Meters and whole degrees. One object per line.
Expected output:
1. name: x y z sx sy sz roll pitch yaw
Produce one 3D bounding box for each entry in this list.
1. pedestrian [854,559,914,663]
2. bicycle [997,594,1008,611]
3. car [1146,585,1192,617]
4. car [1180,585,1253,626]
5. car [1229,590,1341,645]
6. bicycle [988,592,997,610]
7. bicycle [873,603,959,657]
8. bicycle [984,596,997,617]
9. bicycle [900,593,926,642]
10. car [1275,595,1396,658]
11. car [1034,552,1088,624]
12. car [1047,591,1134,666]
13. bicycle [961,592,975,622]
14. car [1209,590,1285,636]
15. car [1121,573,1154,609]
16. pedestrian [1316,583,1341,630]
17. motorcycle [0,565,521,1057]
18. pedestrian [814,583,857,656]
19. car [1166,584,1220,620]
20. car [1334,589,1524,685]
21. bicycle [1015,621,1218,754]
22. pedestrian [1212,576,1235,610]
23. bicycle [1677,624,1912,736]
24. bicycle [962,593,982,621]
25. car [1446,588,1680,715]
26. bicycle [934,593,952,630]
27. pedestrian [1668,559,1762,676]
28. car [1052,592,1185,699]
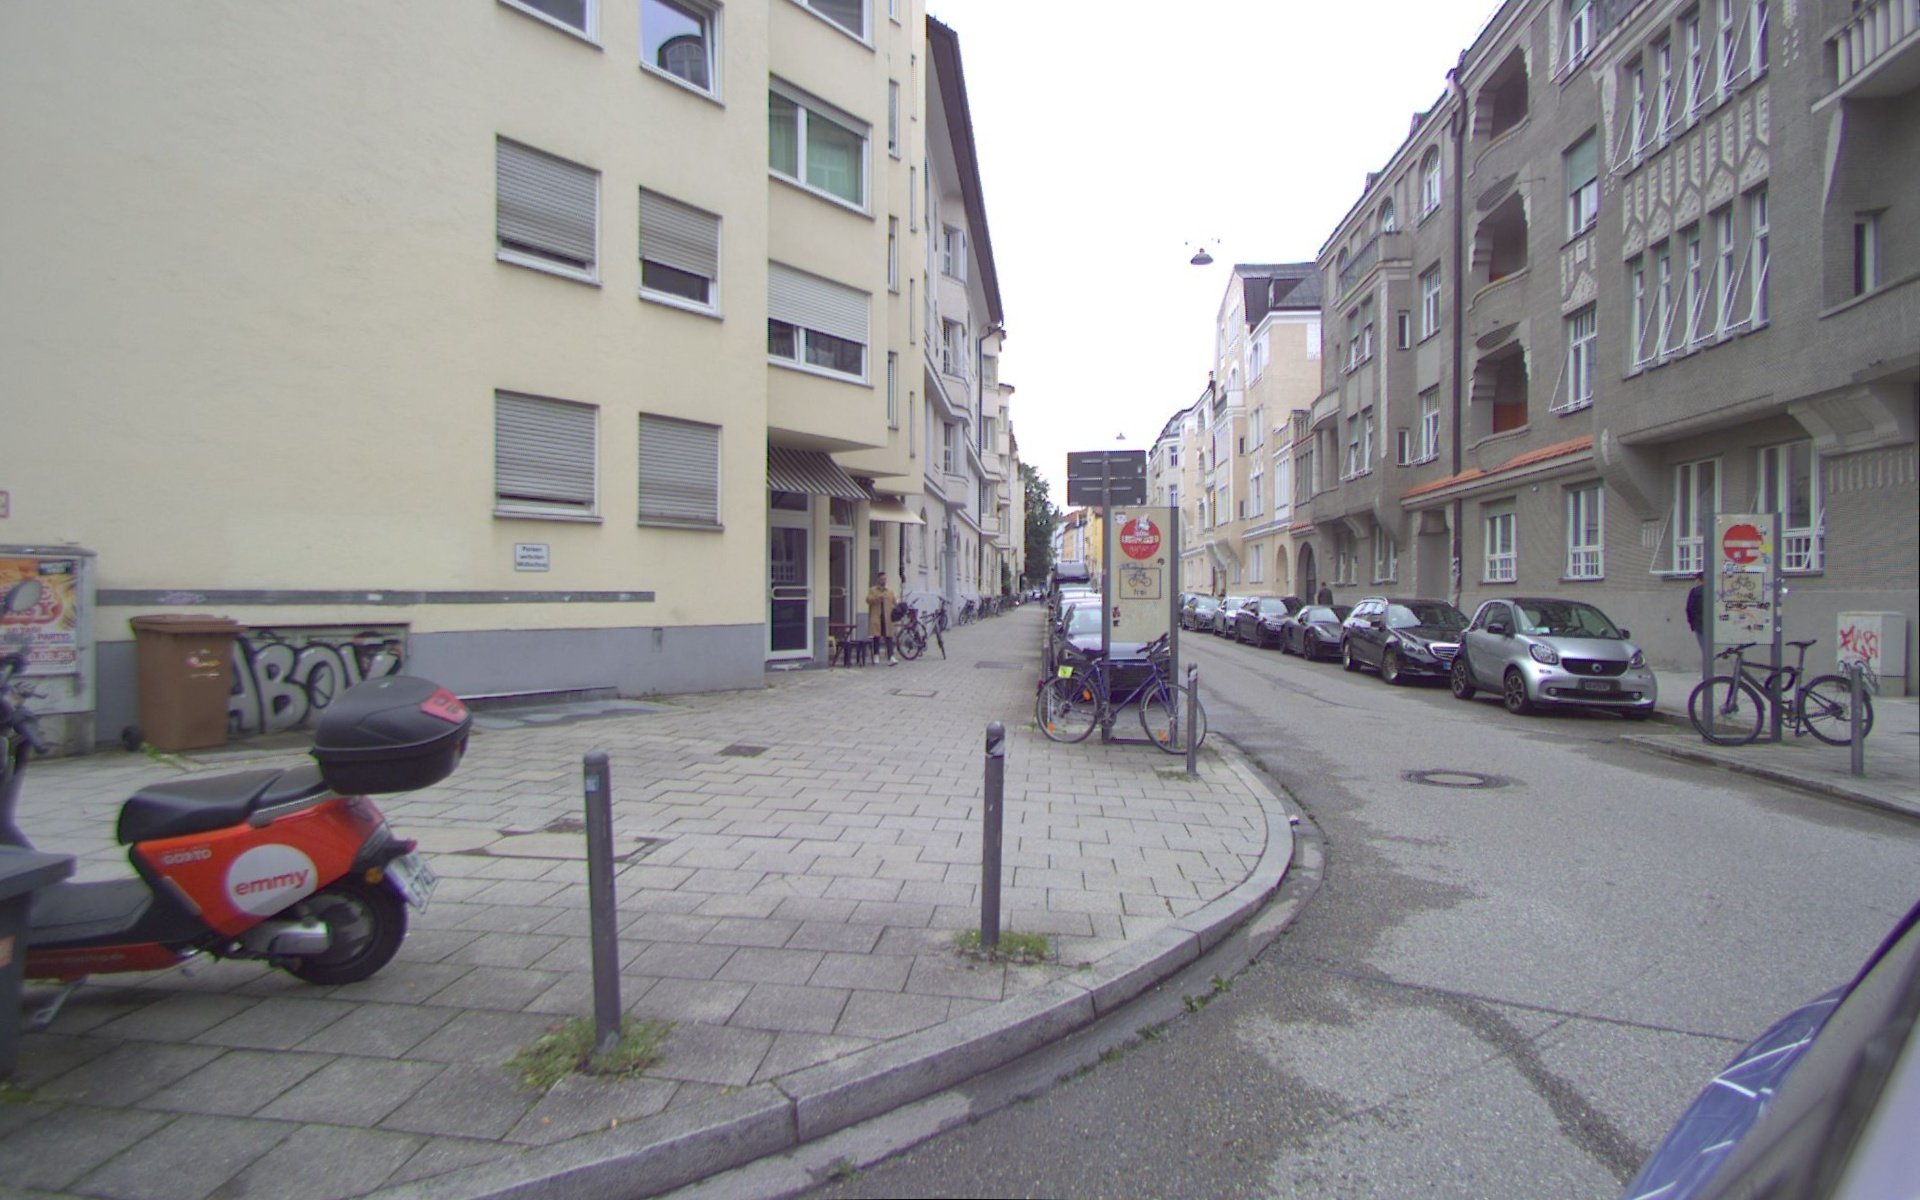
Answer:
1. pedestrian: -1.434 0.203 18.966 0.726 1.871 1.018 4 -1 -23
2. bicycle: 2.945 0.138 70.062 0.637 1.131 1.965 -1 1 5
3. car: 11.490 0.034 55.922 1.923 1.679 4.611 0 1 5
4. car: 10.113 0.177 40.258 1.808 1.532 4.607 0 1 1
5. car: 9.397 0.452 29.687 1.964 1.466 4.775 0 1 3
6. bicycle: 2.044 0.052 63.464 0.485 1.131 1.965 -1 1 5
7. bicycle: -0.897 0.605 21.000 0.750 1.045 1.773 2 1 40
8. bicycle: 1.715 0.362 56.600 0.632 1.131 1.965 -1 1 5
9. bicycle: -1.229 0.443 26.594 0.554 1.207 1.677 2 0 0
10. car: 8.881 0.574 24.258 1.730 1.348 4.090 0 1 6
11. car: 4.502 -0.577 45.835 2.221 2.996 6.126 -1 1 5
12. car: 2.801 0.557 22.370 1.609 1.490 3.852 -1 1 3
13. bicycle: 0.340 0.286 41.581 0.474 1.165 1.787 2 1 3
14. car: 9.890 0.396 35.167 1.780 1.449 4.431 1 1 6
15. car: 13.928 -0.738 79.630 2.069 2.654 5.669 1 1 6
16. pedestrian: 14.588 0.234 40.071 0.706 1.840 0.730 -1 0 5
17. motorcycle: -2.584 0.588 3.282 2.040 1.373 0.819 1 0 -18
18. pedestrian: -2.457 0.370 20.050 0.530 1.416 0.664 0 0 38
19. car: 10.863 0.080 47.406 1.775 1.592 3.812 -1 1 2
20. car: 8.451 0.571 18.737 1.730 1.534 4.700 0 1 6
21. bicycle: 1.463 0.782 9.603 1.784 1.099 0.658 1 -1 33
22. pedestrian: 13.780 -0.364 52.940 0.978 1.750 0.938 -1 0 5
23. bicycle: 8.199 0.780 9.996 1.776 1.028 0.539 -1 0 5
24. bicycle: 0.540 0.279 43.835 0.476 1.165 1.781 0 0 13
25. car: 8.223 0.625 14.103 1.680 1.534 2.906 1 1 6
26. bicycle: -0.543 0.361 33.455 0.474 1.165 1.787 -1 0 3
27. pedestrian: 11.982 0.264 16.098 0.827 1.810 0.934 -1 0 8
28. car: 2.458 0.630 16.684 1.667 1.490 4.607 -1 1 3
